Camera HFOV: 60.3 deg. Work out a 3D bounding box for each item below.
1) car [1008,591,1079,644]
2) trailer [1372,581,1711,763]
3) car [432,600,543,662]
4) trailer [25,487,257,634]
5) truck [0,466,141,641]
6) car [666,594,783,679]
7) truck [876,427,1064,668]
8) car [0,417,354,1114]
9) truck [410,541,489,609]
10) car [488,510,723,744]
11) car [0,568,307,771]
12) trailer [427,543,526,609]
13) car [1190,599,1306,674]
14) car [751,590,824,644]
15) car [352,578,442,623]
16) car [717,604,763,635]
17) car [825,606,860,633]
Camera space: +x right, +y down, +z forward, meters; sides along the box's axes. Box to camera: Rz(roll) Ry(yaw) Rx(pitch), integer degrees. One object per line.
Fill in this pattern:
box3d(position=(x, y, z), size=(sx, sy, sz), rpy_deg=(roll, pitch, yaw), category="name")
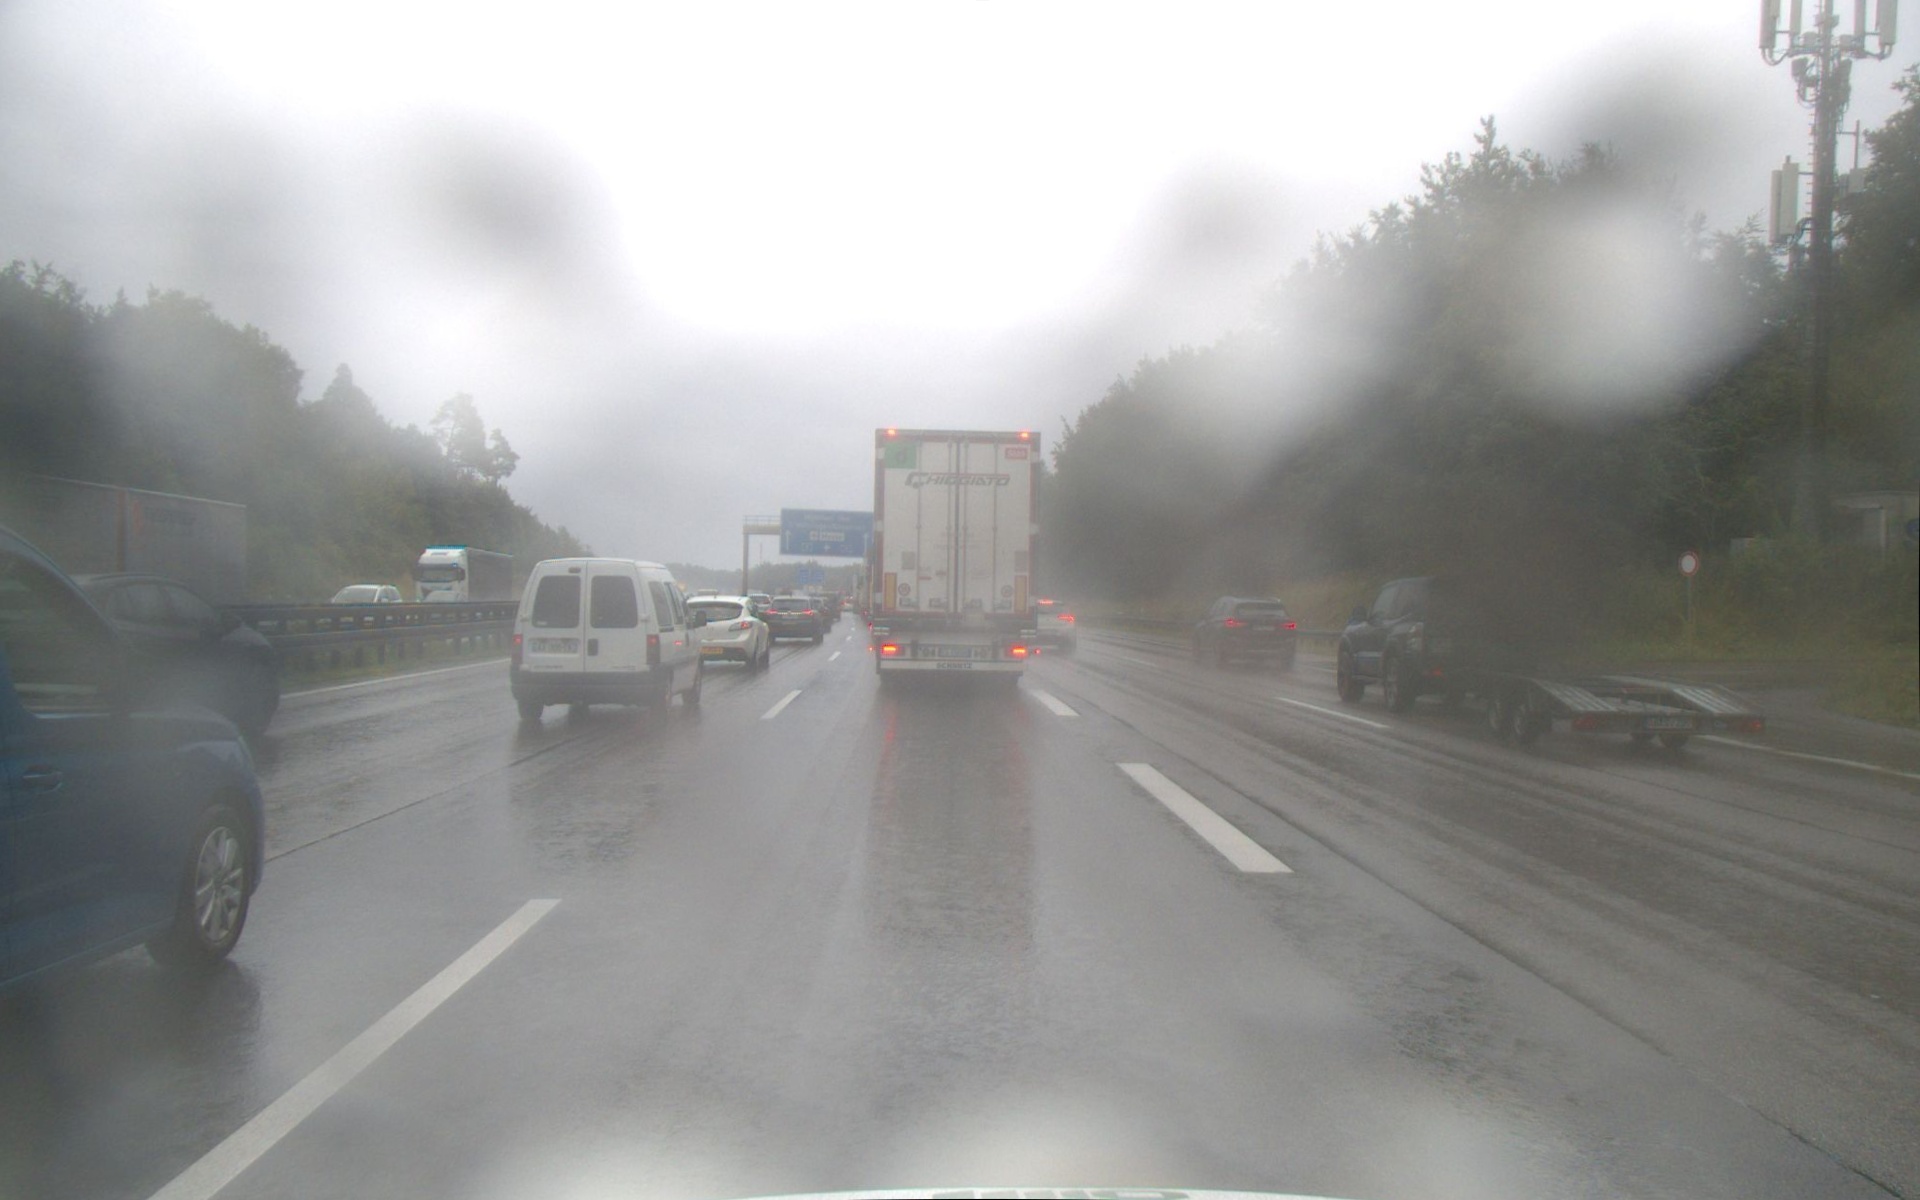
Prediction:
box3d(position=(2.413, 0.474, 48.670), size=(1.851, 1.450, 4.483), rpy_deg=(1, 0, 0), category="car")
box3d(position=(6.327, 0.684, 18.746), size=(2.196, 1.744, 5.084), rpy_deg=(1, 0, 2), category="trailer")
box3d(position=(-13.199, 0.829, 46.480), size=(2.049, 1.531, 4.750), rpy_deg=(-2, 1, -5), category="car")
box3d(position=(-23.727, -1.065, 48.562), size=(2.629, 3.884, 9.002), rpy_deg=(1, 0, -2), category="trailer")
box3d(position=(-23.391, -1.082, 39.762), size=(2.649, 4.000, 10.024), rpy_deg=(1, 0, -2), category="truck")
box3d(position=(-4.803, 0.712, 34.274), size=(1.808, 1.619, 4.072), rpy_deg=(1, 0, 0), category="car")
box3d(position=(0.083, -0.776, 30.864), size=(2.814, 3.624, 11.299), rpy_deg=(1, 0, -1), category="truck")
box3d(position=(-3.781, 0.449, 4.637), size=(2.223, 1.945, 5.016), rpy_deg=(1, 0, 1), category="car")
box3d(position=(-30.447, -1.462, 98.895), size=(2.959, 3.884, 6.262), rpy_deg=(1, 0, -2), category="truck")
box3d(position=(-4.346, 0.290, 21.140), size=(2.169, 2.618, 5.012), rpy_deg=(1, 0, -4), category="car")
box3d(position=(-7.826, 0.536, 15.459), size=(1.808, 1.619, 4.464), rpy_deg=(1, 0, -2), category="car")
box3d(position=(-30.756, -1.475, 105.924), size=(2.964, 3.884, 13.553), rpy_deg=(1, 0, -3), category="trailer")
box3d(position=(6.731, 0.805, 39.142), size=(1.949, 1.611, 4.768), rpy_deg=(1, 0, 1), category="car")
box3d(position=(-5.406, 0.496, 52.358), size=(1.808, 1.619, 4.466), rpy_deg=(1, 0, 0), category="car")
box3d(position=(-19.807, 0.002, 58.407), size=(1.799, 1.523, 4.330), rpy_deg=(1, 0, -2), category="car")
box3d(position=(-10.329, 0.912, 77.844), size=(1.809, 1.354, 4.463), rpy_deg=(1, 0, -3), category="car")
box3d(position=(-6.375, 1.053, 90.257), size=(1.809, 1.354, 4.463), rpy_deg=(1, 0, -3), category="car")
